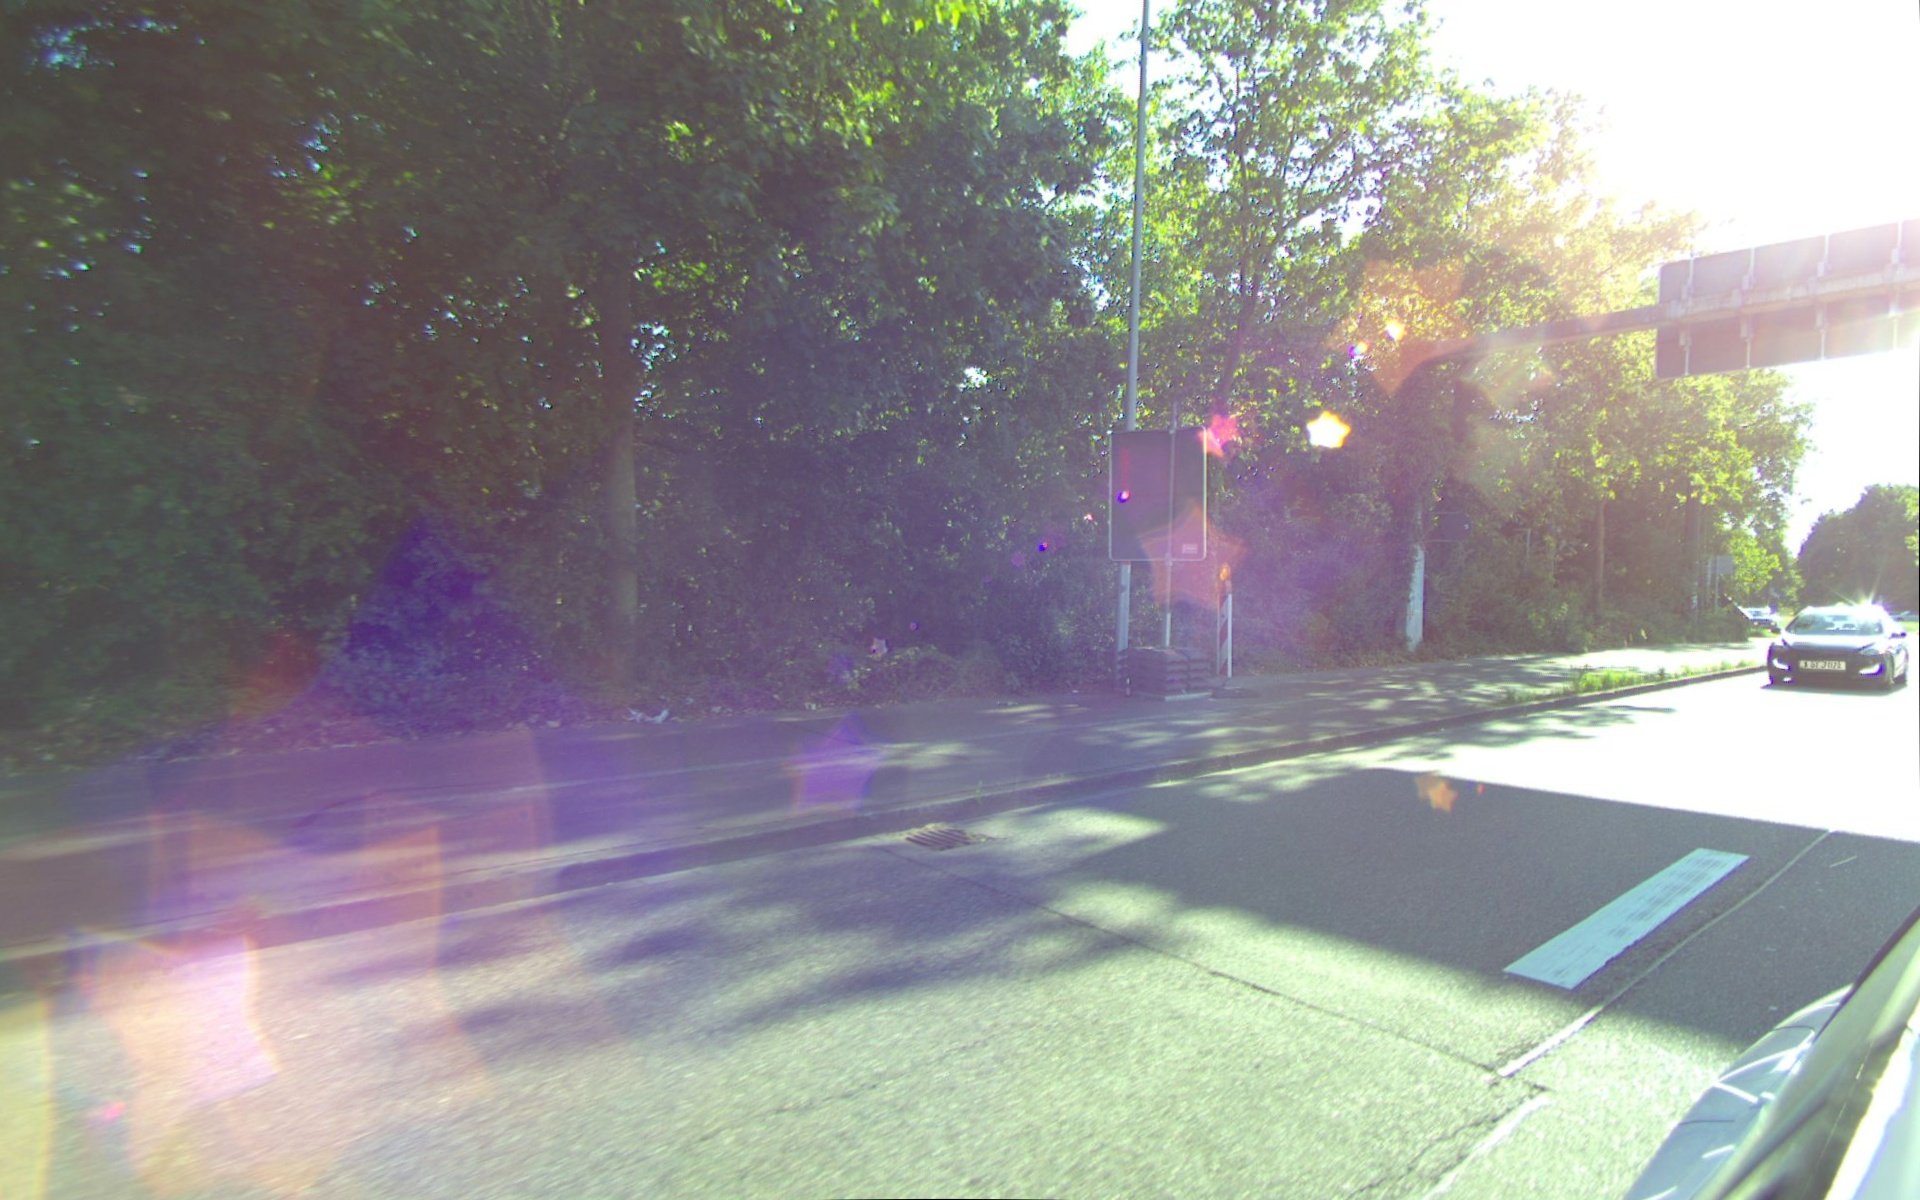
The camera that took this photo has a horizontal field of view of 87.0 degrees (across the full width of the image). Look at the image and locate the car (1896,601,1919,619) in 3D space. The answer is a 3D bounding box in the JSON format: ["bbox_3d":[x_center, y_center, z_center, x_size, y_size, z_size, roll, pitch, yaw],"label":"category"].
[{"bbox_3d":[101.739,1.090,107.013,3.609,1.823,1.870,1,1,27],"label":"car"}]

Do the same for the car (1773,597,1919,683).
[{"bbox_3d":[17.315,0.692,19.572,4.150,1.458,1.796,0,1,-41],"label":"car"}]
